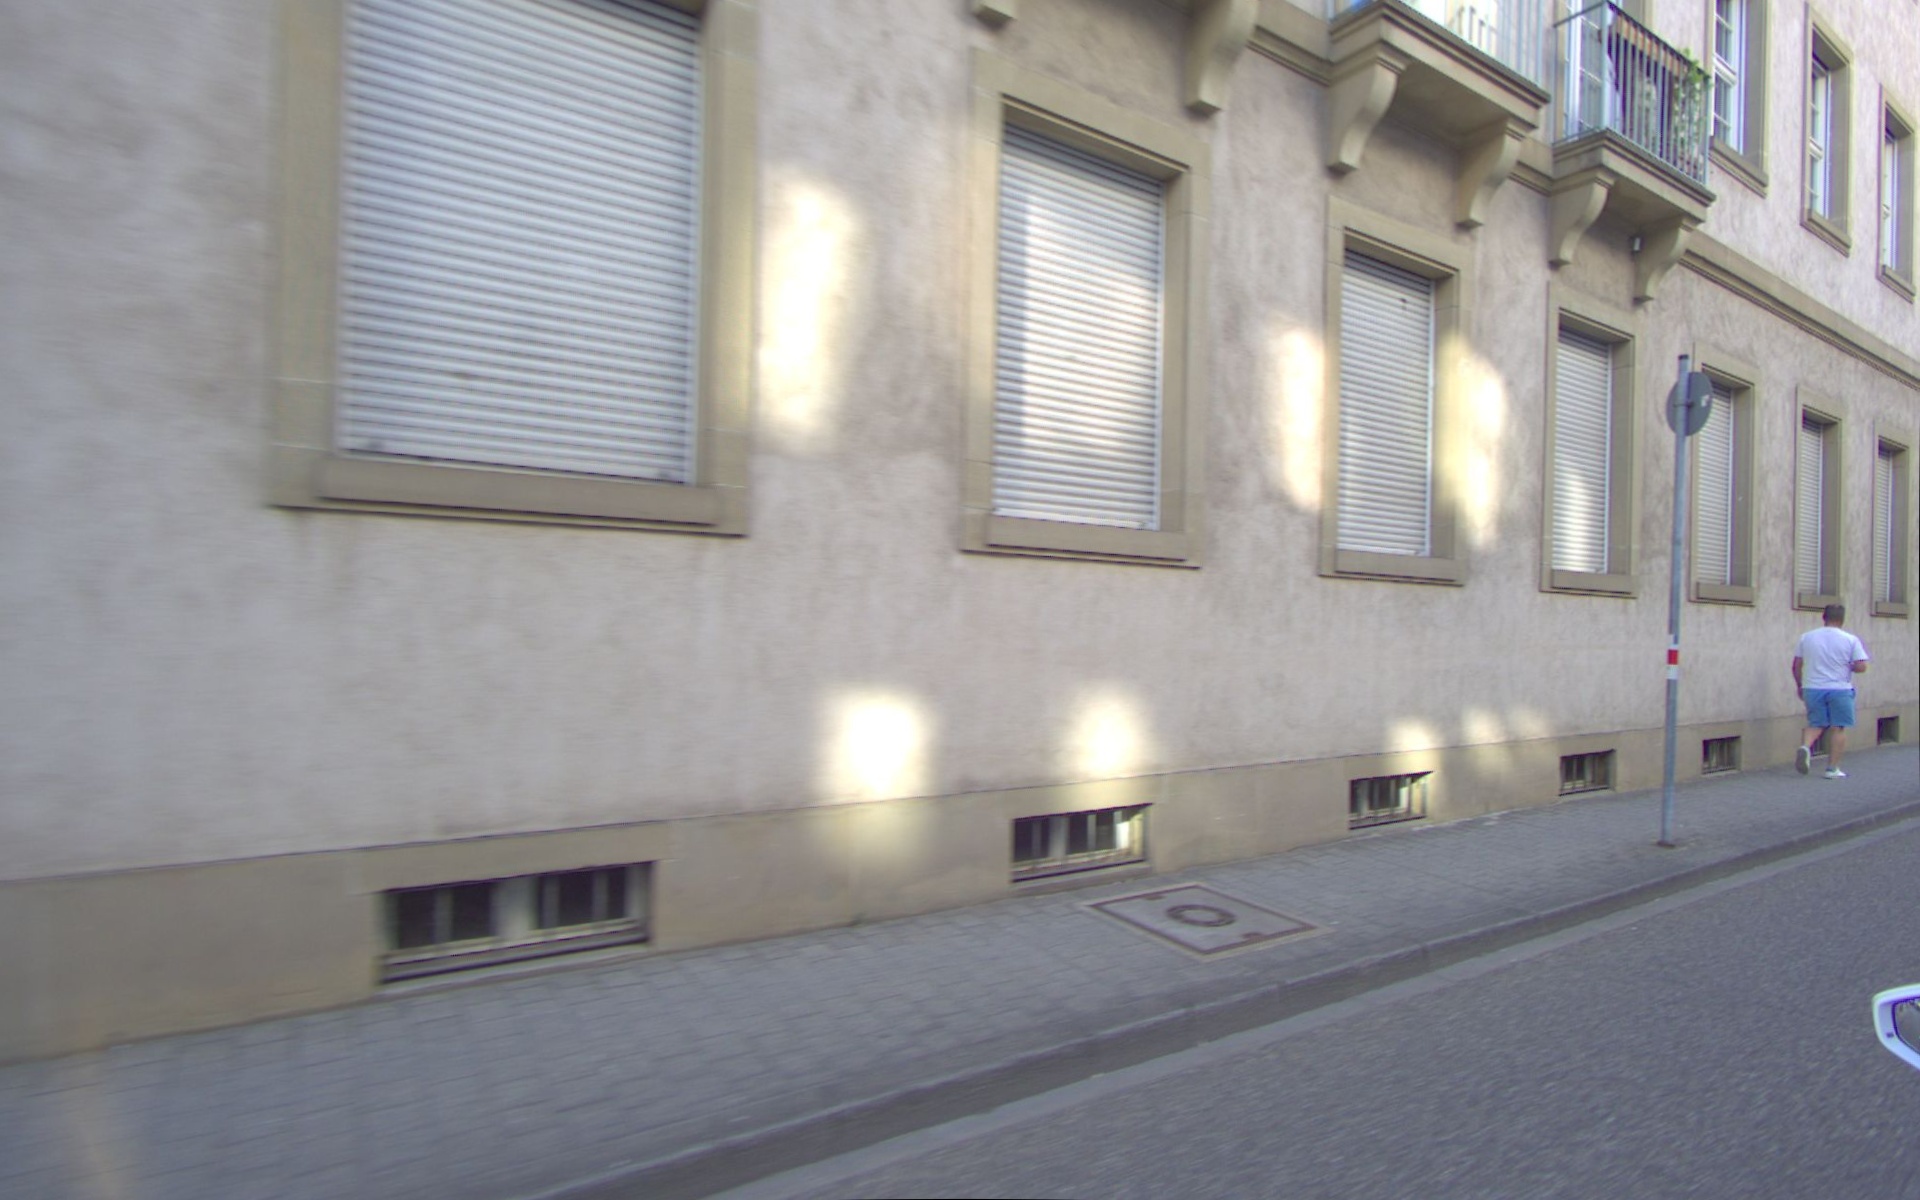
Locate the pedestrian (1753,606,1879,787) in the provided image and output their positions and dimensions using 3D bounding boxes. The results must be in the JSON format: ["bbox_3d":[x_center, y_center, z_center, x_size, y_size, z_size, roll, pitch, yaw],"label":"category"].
[{"bbox_3d":[8.582,0.934,10.077,0.866,1.692,0.688,2,1,-34],"label":"pedestrian"}]
